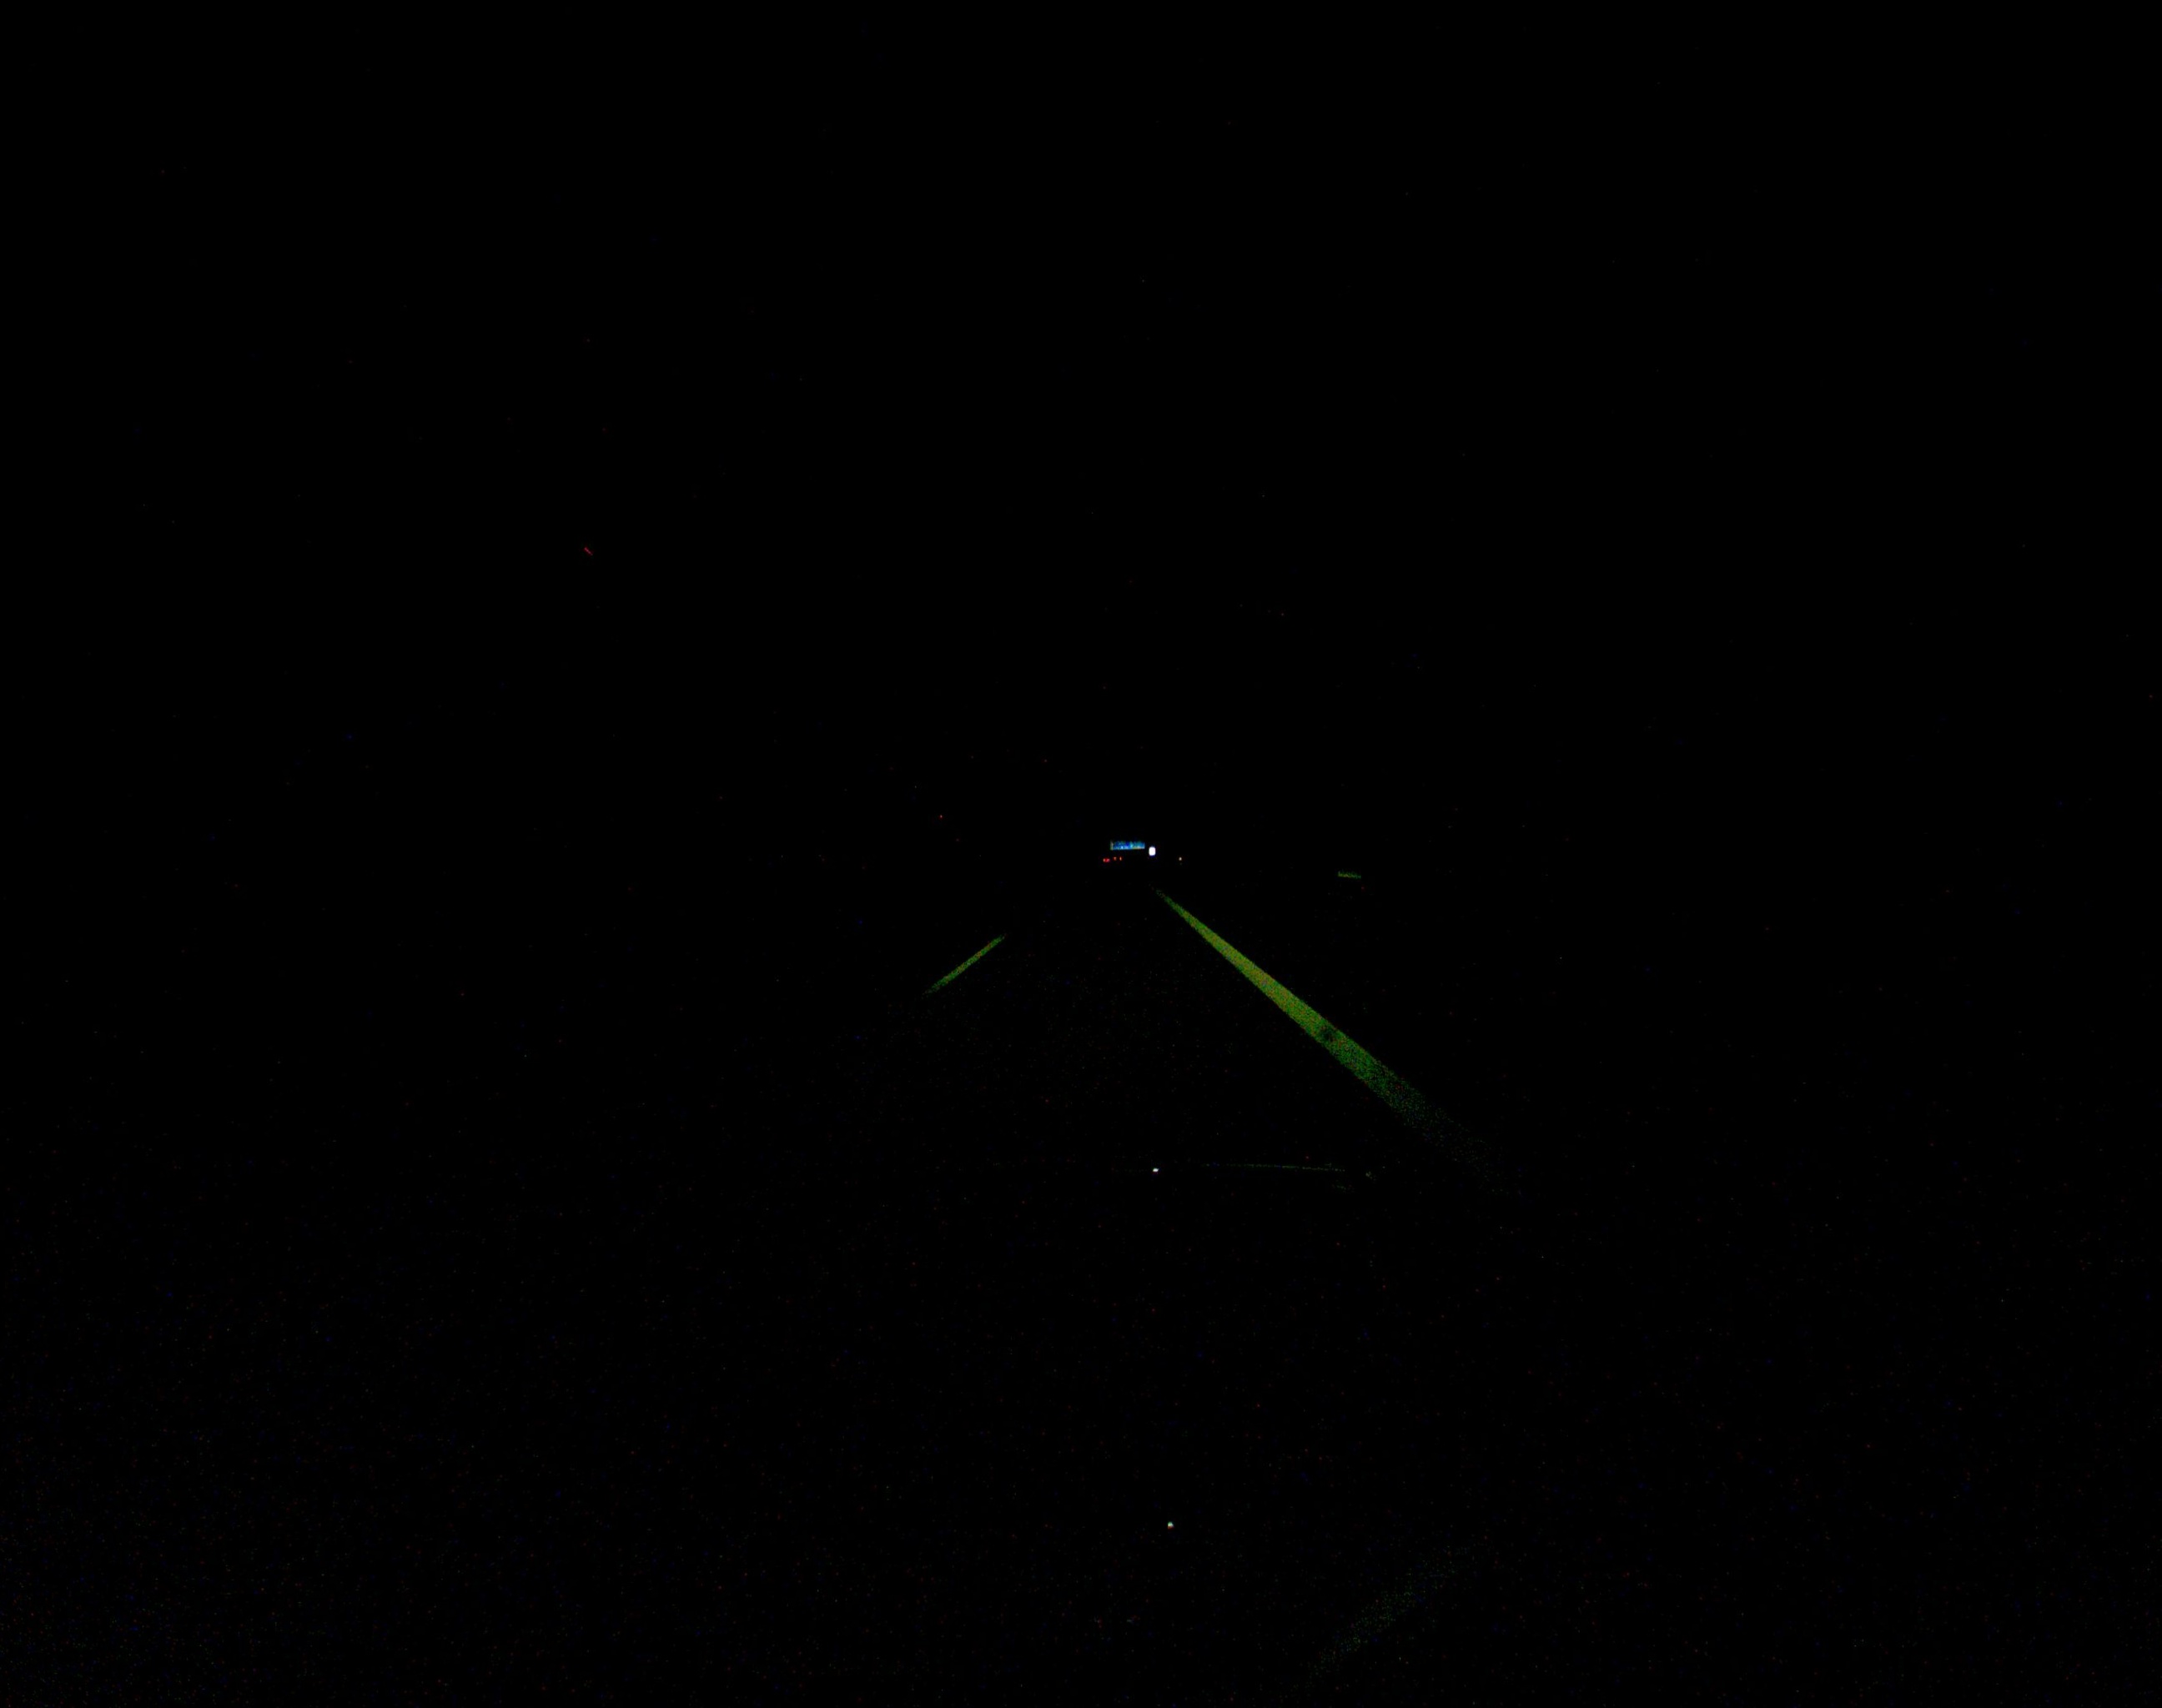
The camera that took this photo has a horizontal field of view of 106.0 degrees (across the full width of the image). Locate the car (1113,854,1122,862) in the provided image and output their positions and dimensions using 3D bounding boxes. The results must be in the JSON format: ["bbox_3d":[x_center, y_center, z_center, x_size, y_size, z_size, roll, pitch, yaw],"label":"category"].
[{"bbox_3d":[11.736,1.353,260.554,2.500,2.314,4.975,-2,-1,4],"label":"car"}]
